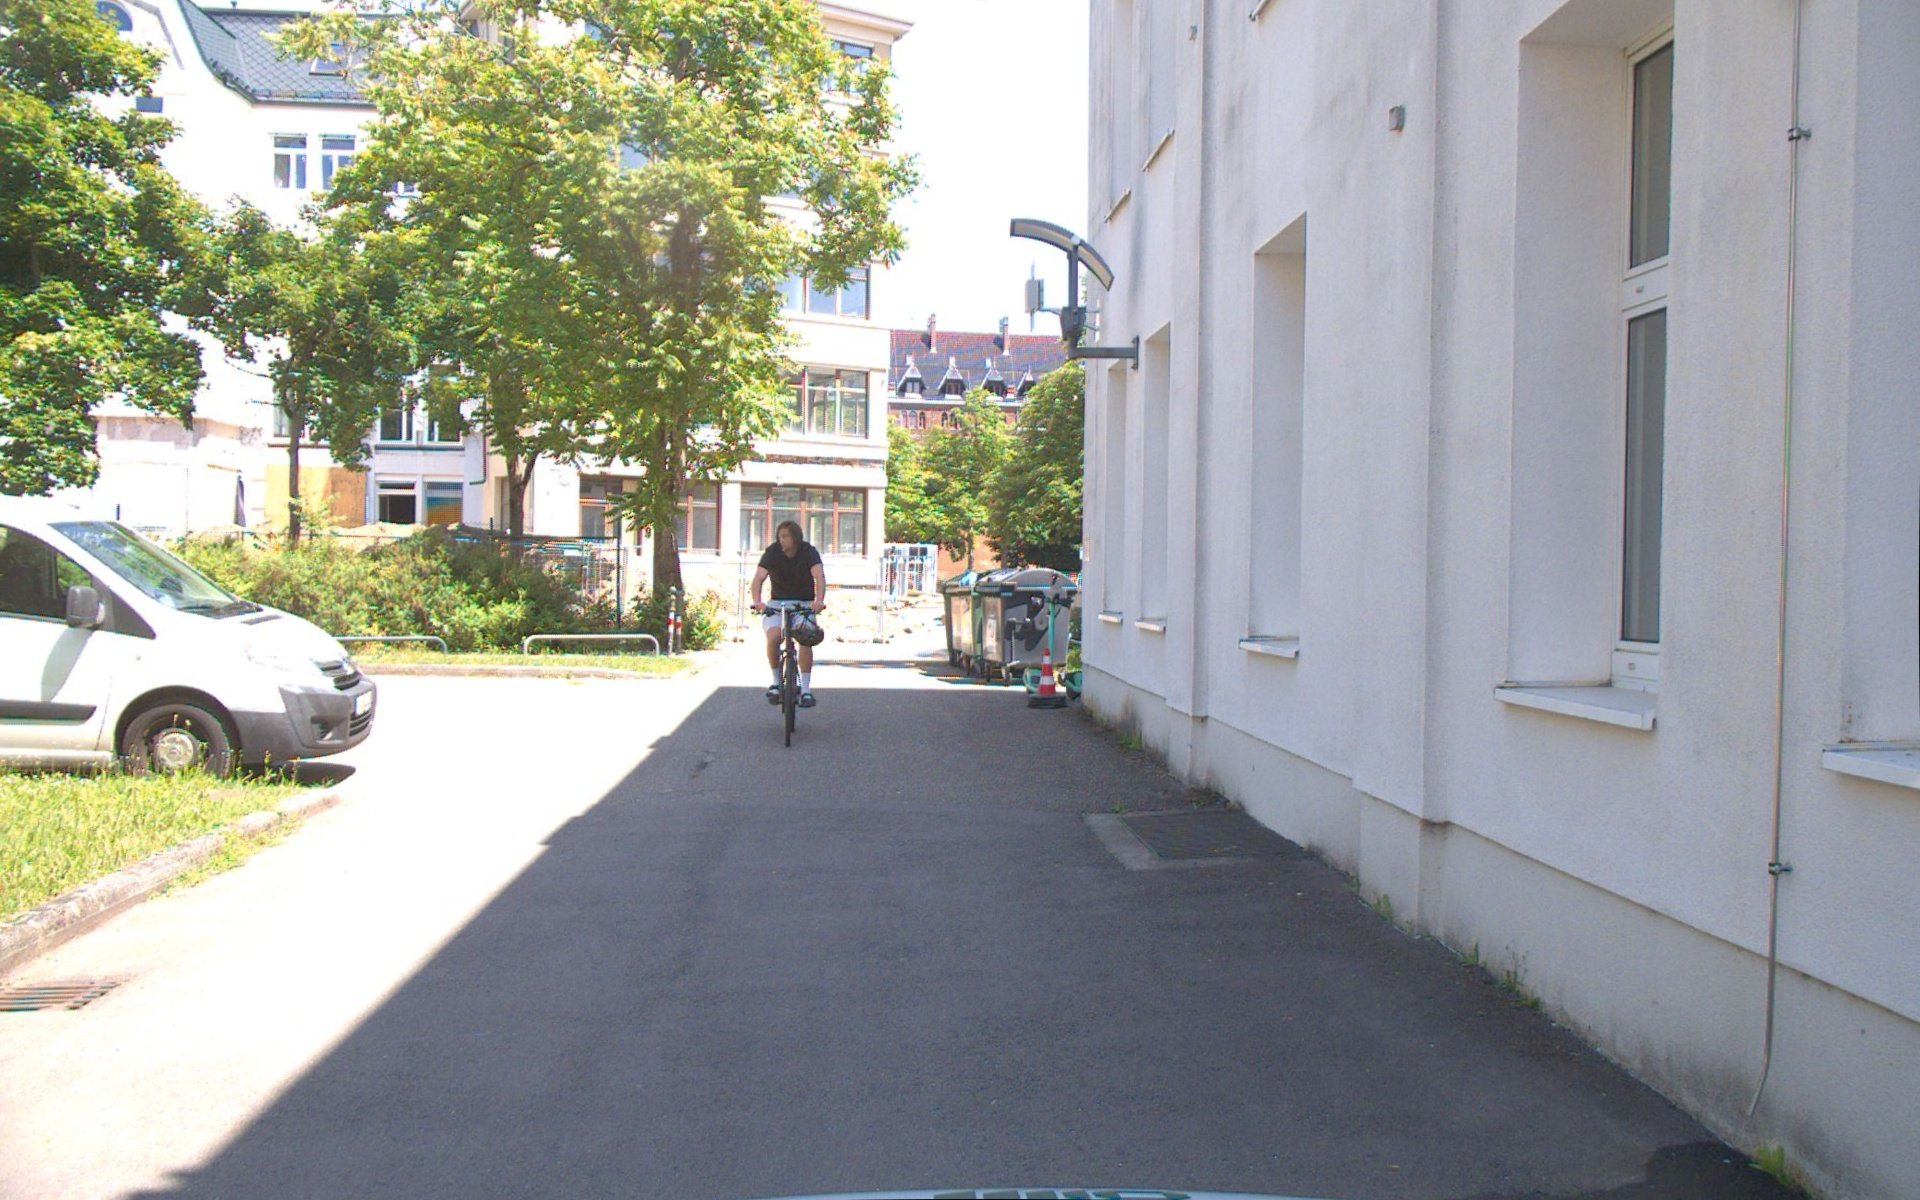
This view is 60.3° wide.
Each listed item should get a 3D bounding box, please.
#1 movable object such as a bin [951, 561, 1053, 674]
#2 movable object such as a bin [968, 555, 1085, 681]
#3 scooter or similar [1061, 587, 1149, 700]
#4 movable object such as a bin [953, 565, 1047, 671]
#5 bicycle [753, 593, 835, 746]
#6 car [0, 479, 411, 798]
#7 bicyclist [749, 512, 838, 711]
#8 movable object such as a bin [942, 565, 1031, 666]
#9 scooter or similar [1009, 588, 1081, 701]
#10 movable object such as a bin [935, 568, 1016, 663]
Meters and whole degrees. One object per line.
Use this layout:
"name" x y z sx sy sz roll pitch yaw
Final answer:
"movable object such as a bin" 0.560 0.237 22.764 1.157 1.495 1.308 1 0 -10
"movable object such as a bin" 0.823 0.229 21.033 1.135 1.532 1.458 1 0 -13
"scooter or similar" 1.574 0.455 18.083 0.457 1.194 1.248 0 0 -21
"movable object such as a bin" 0.565 0.261 24.152 1.157 1.495 1.309 1 0 -8
"bicycle" -1.451 0.554 14.227 0.632 1.194 1.901 1 1 -8
"car" -6.294 0.236 11.036 4.700 1.945 1.996 0 0 -9
"bicyclist" -1.444 0.089 14.201 0.709 1.637 0.976 1 1 -8
"movable object such as a bin" 0.395 0.235 25.584 1.157 1.495 1.308 1 0 -9
"scooter or similar" 0.929 0.472 18.298 0.455 1.194 1.353 0 0 -12
"movable object such as a bin" 0.274 0.248 27.117 1.154 1.495 1.334 1 0 7
